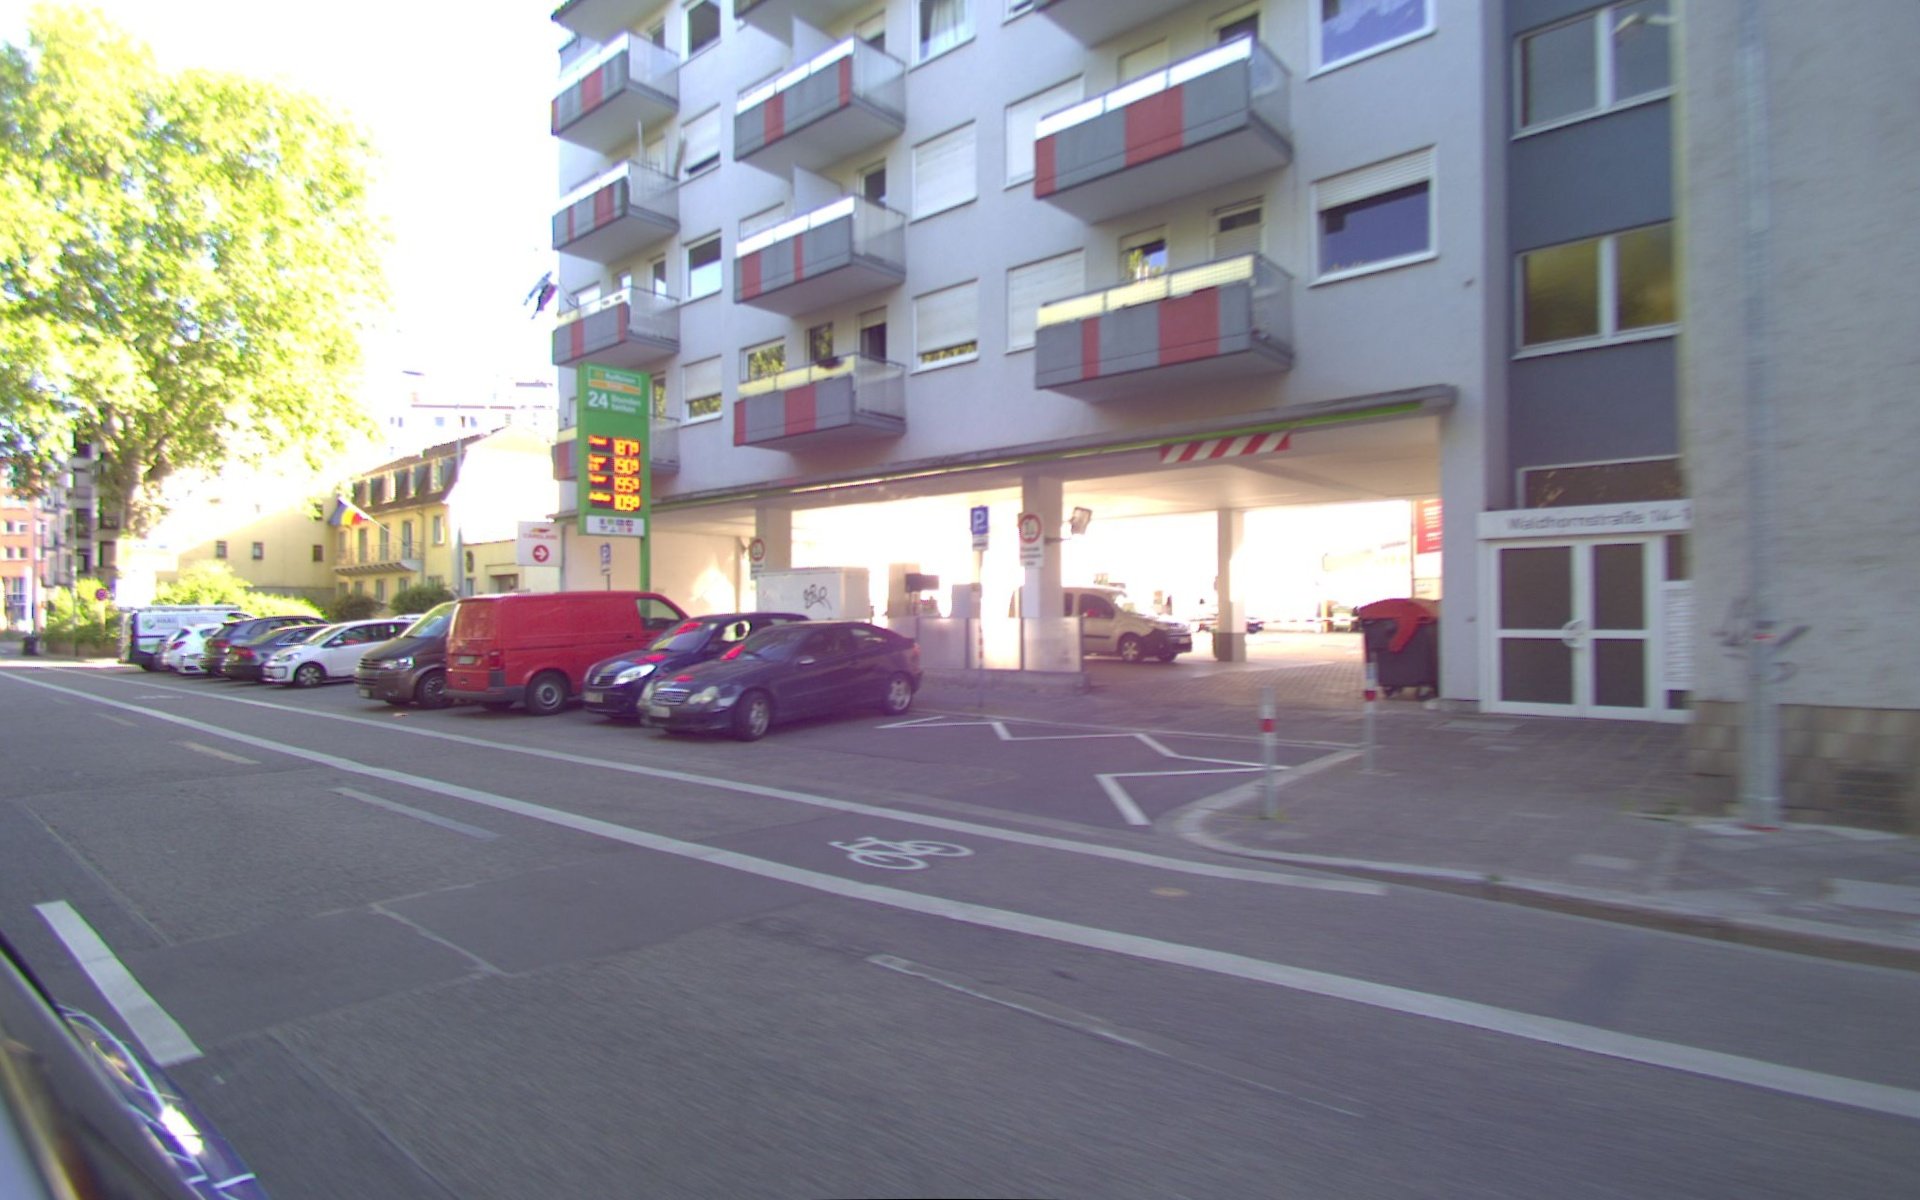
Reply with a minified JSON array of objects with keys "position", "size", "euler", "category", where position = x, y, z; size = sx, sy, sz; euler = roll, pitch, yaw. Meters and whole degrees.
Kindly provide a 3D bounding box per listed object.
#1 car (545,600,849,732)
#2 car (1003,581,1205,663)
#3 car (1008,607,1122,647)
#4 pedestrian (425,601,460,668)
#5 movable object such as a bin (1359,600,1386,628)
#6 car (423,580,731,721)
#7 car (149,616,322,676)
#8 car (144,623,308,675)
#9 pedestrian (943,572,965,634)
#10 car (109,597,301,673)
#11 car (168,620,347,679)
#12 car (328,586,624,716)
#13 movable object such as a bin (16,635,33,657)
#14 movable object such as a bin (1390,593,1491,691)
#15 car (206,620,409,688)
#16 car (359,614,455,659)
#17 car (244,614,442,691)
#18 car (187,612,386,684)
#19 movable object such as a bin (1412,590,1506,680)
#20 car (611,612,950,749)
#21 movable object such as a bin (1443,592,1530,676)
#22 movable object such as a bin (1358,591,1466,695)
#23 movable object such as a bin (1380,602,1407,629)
[{"position":[-3.888,0.885,15.517],"size":[1.885,1.575,4.130],"euler":[-1,2,41],"category":"car"},{"position":[3.316,0.487,23.928],"size":[4.583,1.760,1.703],"euler":[0,-1,41],"category":"car"},{"position":[4.125,1.039,39.997],"size":[4.252,1.475,1.757],"euler":[-1,-1,41],"category":"car"},{"position":[-14.322,0.942,27.984],"size":[0.722,1.802,0.625],"euler":[-2,-1,41],"category":"pedestrian"},{"position":[21.508,0.721,52.766],"size":[0.829,1.466,1.001],"euler":[-2,1,-38],"category":"movable object such as a bin"},{"position":[-6.388,0.728,17.277],"size":[2.145,1.966,4.376],"euler":[-2,1,41],"category":"car"},{"position":[-22.006,1.360,30.847],"size":[1.852,1.571,3.946],"euler":[-2,0,40],"category":"car"},{"position":[-23.600,1.529,32.644],"size":[1.852,1.444,3.946],"euler":[-1,0,40],"category":"car"},{"position":[-0.170,0.088,27.887],"size":[0.531,1.662,0.636],"euler":[-1,-1,-6],"category":"pedestrian"},{"position":[-25.279,1.100,34.047],"size":[2.139,2.233,4.795],"euler":[-1,1,40],"category":"car"},{"position":[-20.379,1.393,29.477],"size":[1.852,1.444,3.946],"euler":[-2,0,40],"category":"car"},{"position":[-8.846,0.827,18.807],"size":[2.055,1.966,4.476],"euler":[-2,1,41],"category":"car"},{"position":[-48.624,2.393,52.614],"size":[0.644,1.079,0.588],"euler":[-1,-1,41],"category":"movable object such as a bin"},{"position":[7.371,0.623,15.527],"size":[1.089,1.411,1.264],"euler":[-1,-1,41],"category":"movable object such as a bin"},{"position":[-16.538,1.309,25.779],"size":[1.915,1.466,3.946],"euler":[-1,0,40],"category":"car"},{"position":[-20.188,1.294,36.873],"size":[3.998,1.475,1.771],"euler":[-2,1,41],"category":"car"},{"position":[-14.746,1.196,24.314],"size":[1.829,1.524,3.648],"euler":[-1,1,40],"category":"car"},{"position":[-18.392,1.234,27.771],"size":[2.027,1.696,4.151],"euler":[-1,0,40],"category":"car"},{"position":[8.227,0.556,16.675],"size":[1.089,1.411,1.264],"euler":[-1,-1,41],"category":"movable object such as a bin"},{"position":[-2.281,0.946,13.756],"size":[2.045,1.390,4.185],"euler":[-1,1,41],"category":"car"},{"position":[9.232,0.580,17.734],"size":[1.089,1.411,1.264],"euler":[-1,-1,41],"category":"movable object such as a bin"},{"position":[6.493,0.598,14.520],"size":[1.089,1.411,1.264],"euler":[-1,-1,41],"category":"movable object such as a bin"},{"position":[22.170,0.792,51.741],"size":[0.829,1.323,1.001],"euler":[-2,1,-38],"category":"movable object such as a bin"}]
